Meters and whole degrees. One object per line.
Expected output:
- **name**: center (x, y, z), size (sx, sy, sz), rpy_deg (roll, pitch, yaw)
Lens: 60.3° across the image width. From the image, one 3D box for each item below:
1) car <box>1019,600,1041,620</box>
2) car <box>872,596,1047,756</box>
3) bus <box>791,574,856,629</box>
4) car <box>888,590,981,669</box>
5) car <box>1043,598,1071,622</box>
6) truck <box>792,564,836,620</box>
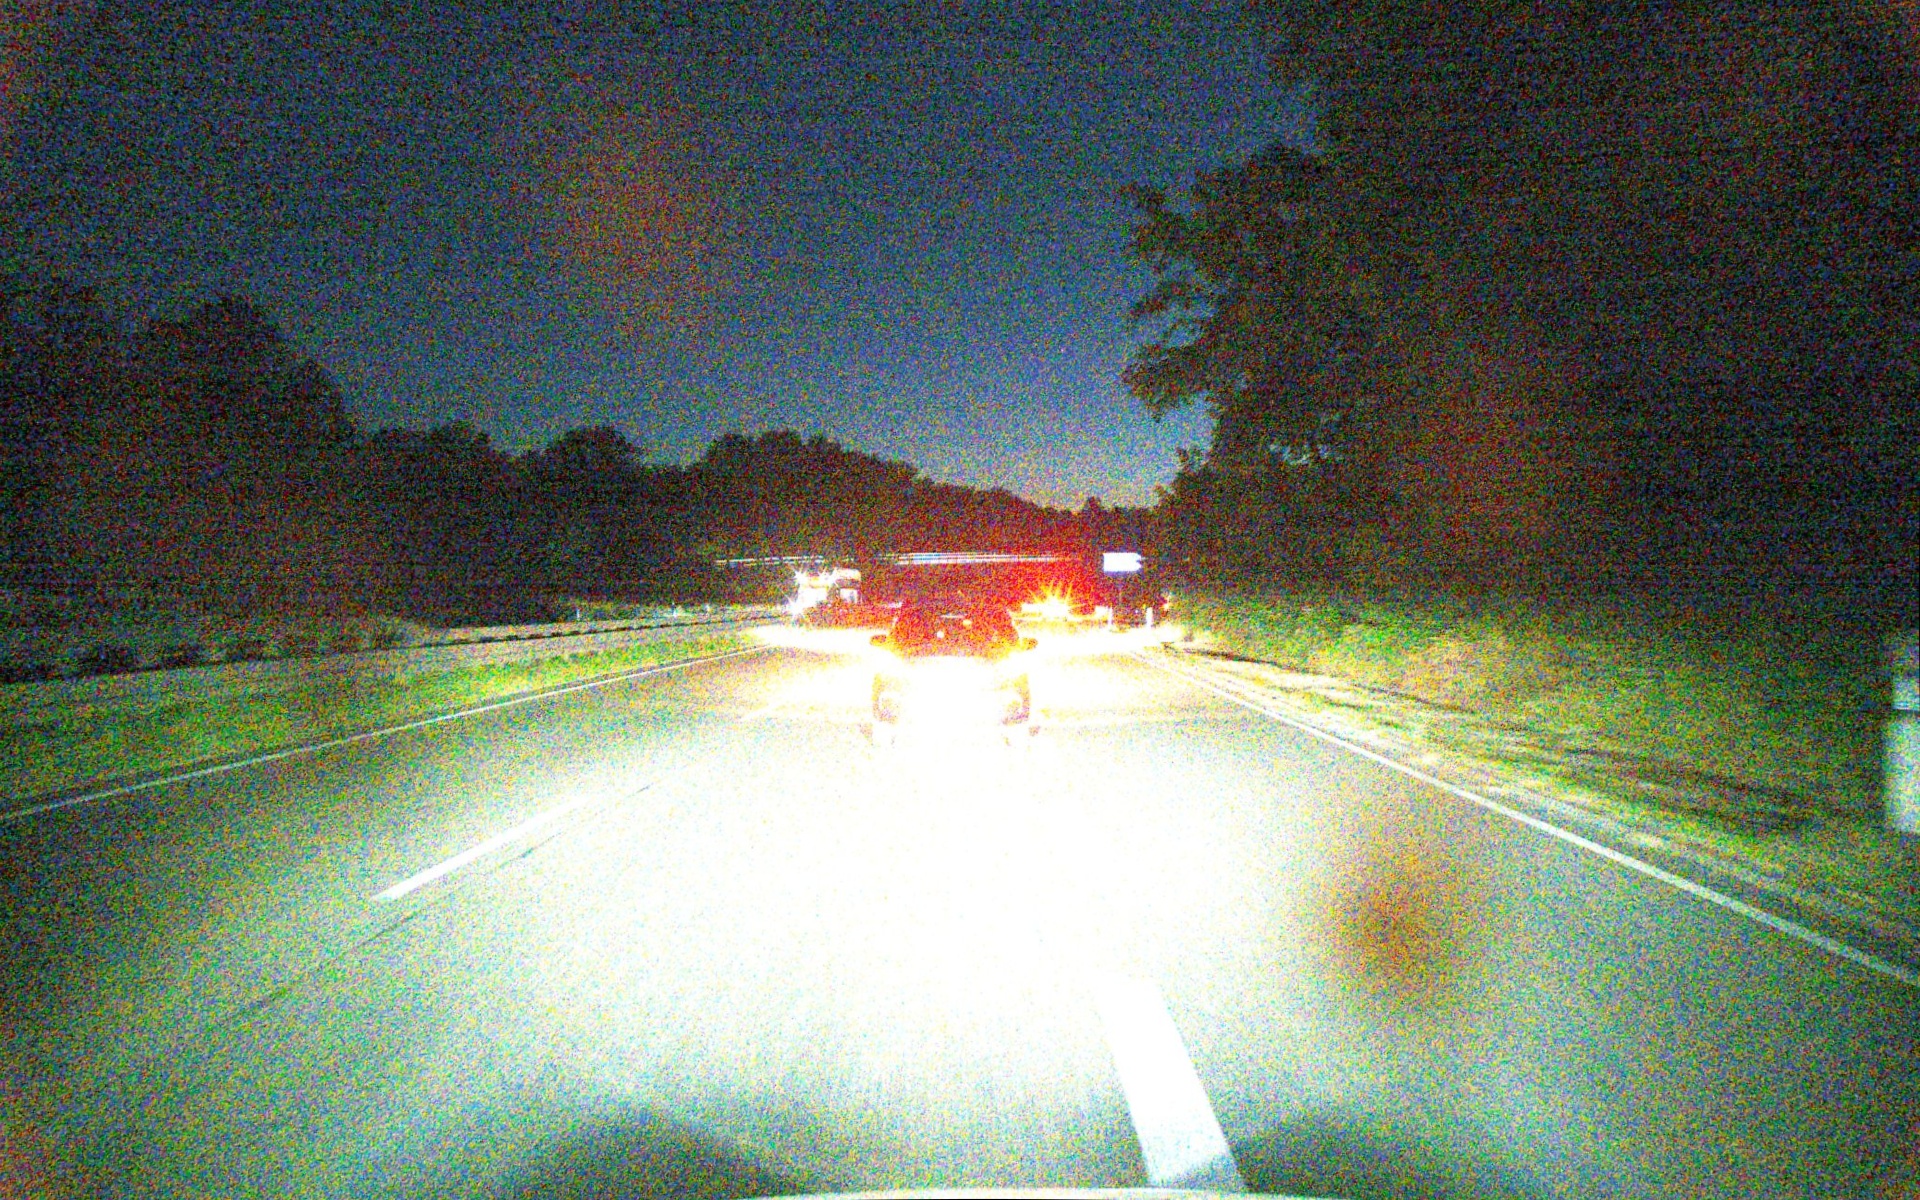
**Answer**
- **car**: center (6.370, 0.899, 151.291), size (1.911, 1.565, 4.241), rpy_deg (-4, -2, 2)
- **car**: center (-0.053, 0.733, 17.833), size (1.657, 1.503, 3.999), rpy_deg (1, 0, -2)
- **bus**: center (-8.987, 0.031, 110.620), size (2.862, 3.446, 12.311), rpy_deg (0, 0, 2)
- **car**: center (-0.510, 0.612, 36.894), size (1.900, 1.636, 4.644), rpy_deg (1, 0, 1)
- **car**: center (6.827, 0.697, 116.506), size (1.698, 1.646, 3.798), rpy_deg (1, 0, 0)
- **truck**: center (-11.280, -0.640, 128.635), size (2.620, 4.250, 5.870), rpy_deg (0, 0, 3)
